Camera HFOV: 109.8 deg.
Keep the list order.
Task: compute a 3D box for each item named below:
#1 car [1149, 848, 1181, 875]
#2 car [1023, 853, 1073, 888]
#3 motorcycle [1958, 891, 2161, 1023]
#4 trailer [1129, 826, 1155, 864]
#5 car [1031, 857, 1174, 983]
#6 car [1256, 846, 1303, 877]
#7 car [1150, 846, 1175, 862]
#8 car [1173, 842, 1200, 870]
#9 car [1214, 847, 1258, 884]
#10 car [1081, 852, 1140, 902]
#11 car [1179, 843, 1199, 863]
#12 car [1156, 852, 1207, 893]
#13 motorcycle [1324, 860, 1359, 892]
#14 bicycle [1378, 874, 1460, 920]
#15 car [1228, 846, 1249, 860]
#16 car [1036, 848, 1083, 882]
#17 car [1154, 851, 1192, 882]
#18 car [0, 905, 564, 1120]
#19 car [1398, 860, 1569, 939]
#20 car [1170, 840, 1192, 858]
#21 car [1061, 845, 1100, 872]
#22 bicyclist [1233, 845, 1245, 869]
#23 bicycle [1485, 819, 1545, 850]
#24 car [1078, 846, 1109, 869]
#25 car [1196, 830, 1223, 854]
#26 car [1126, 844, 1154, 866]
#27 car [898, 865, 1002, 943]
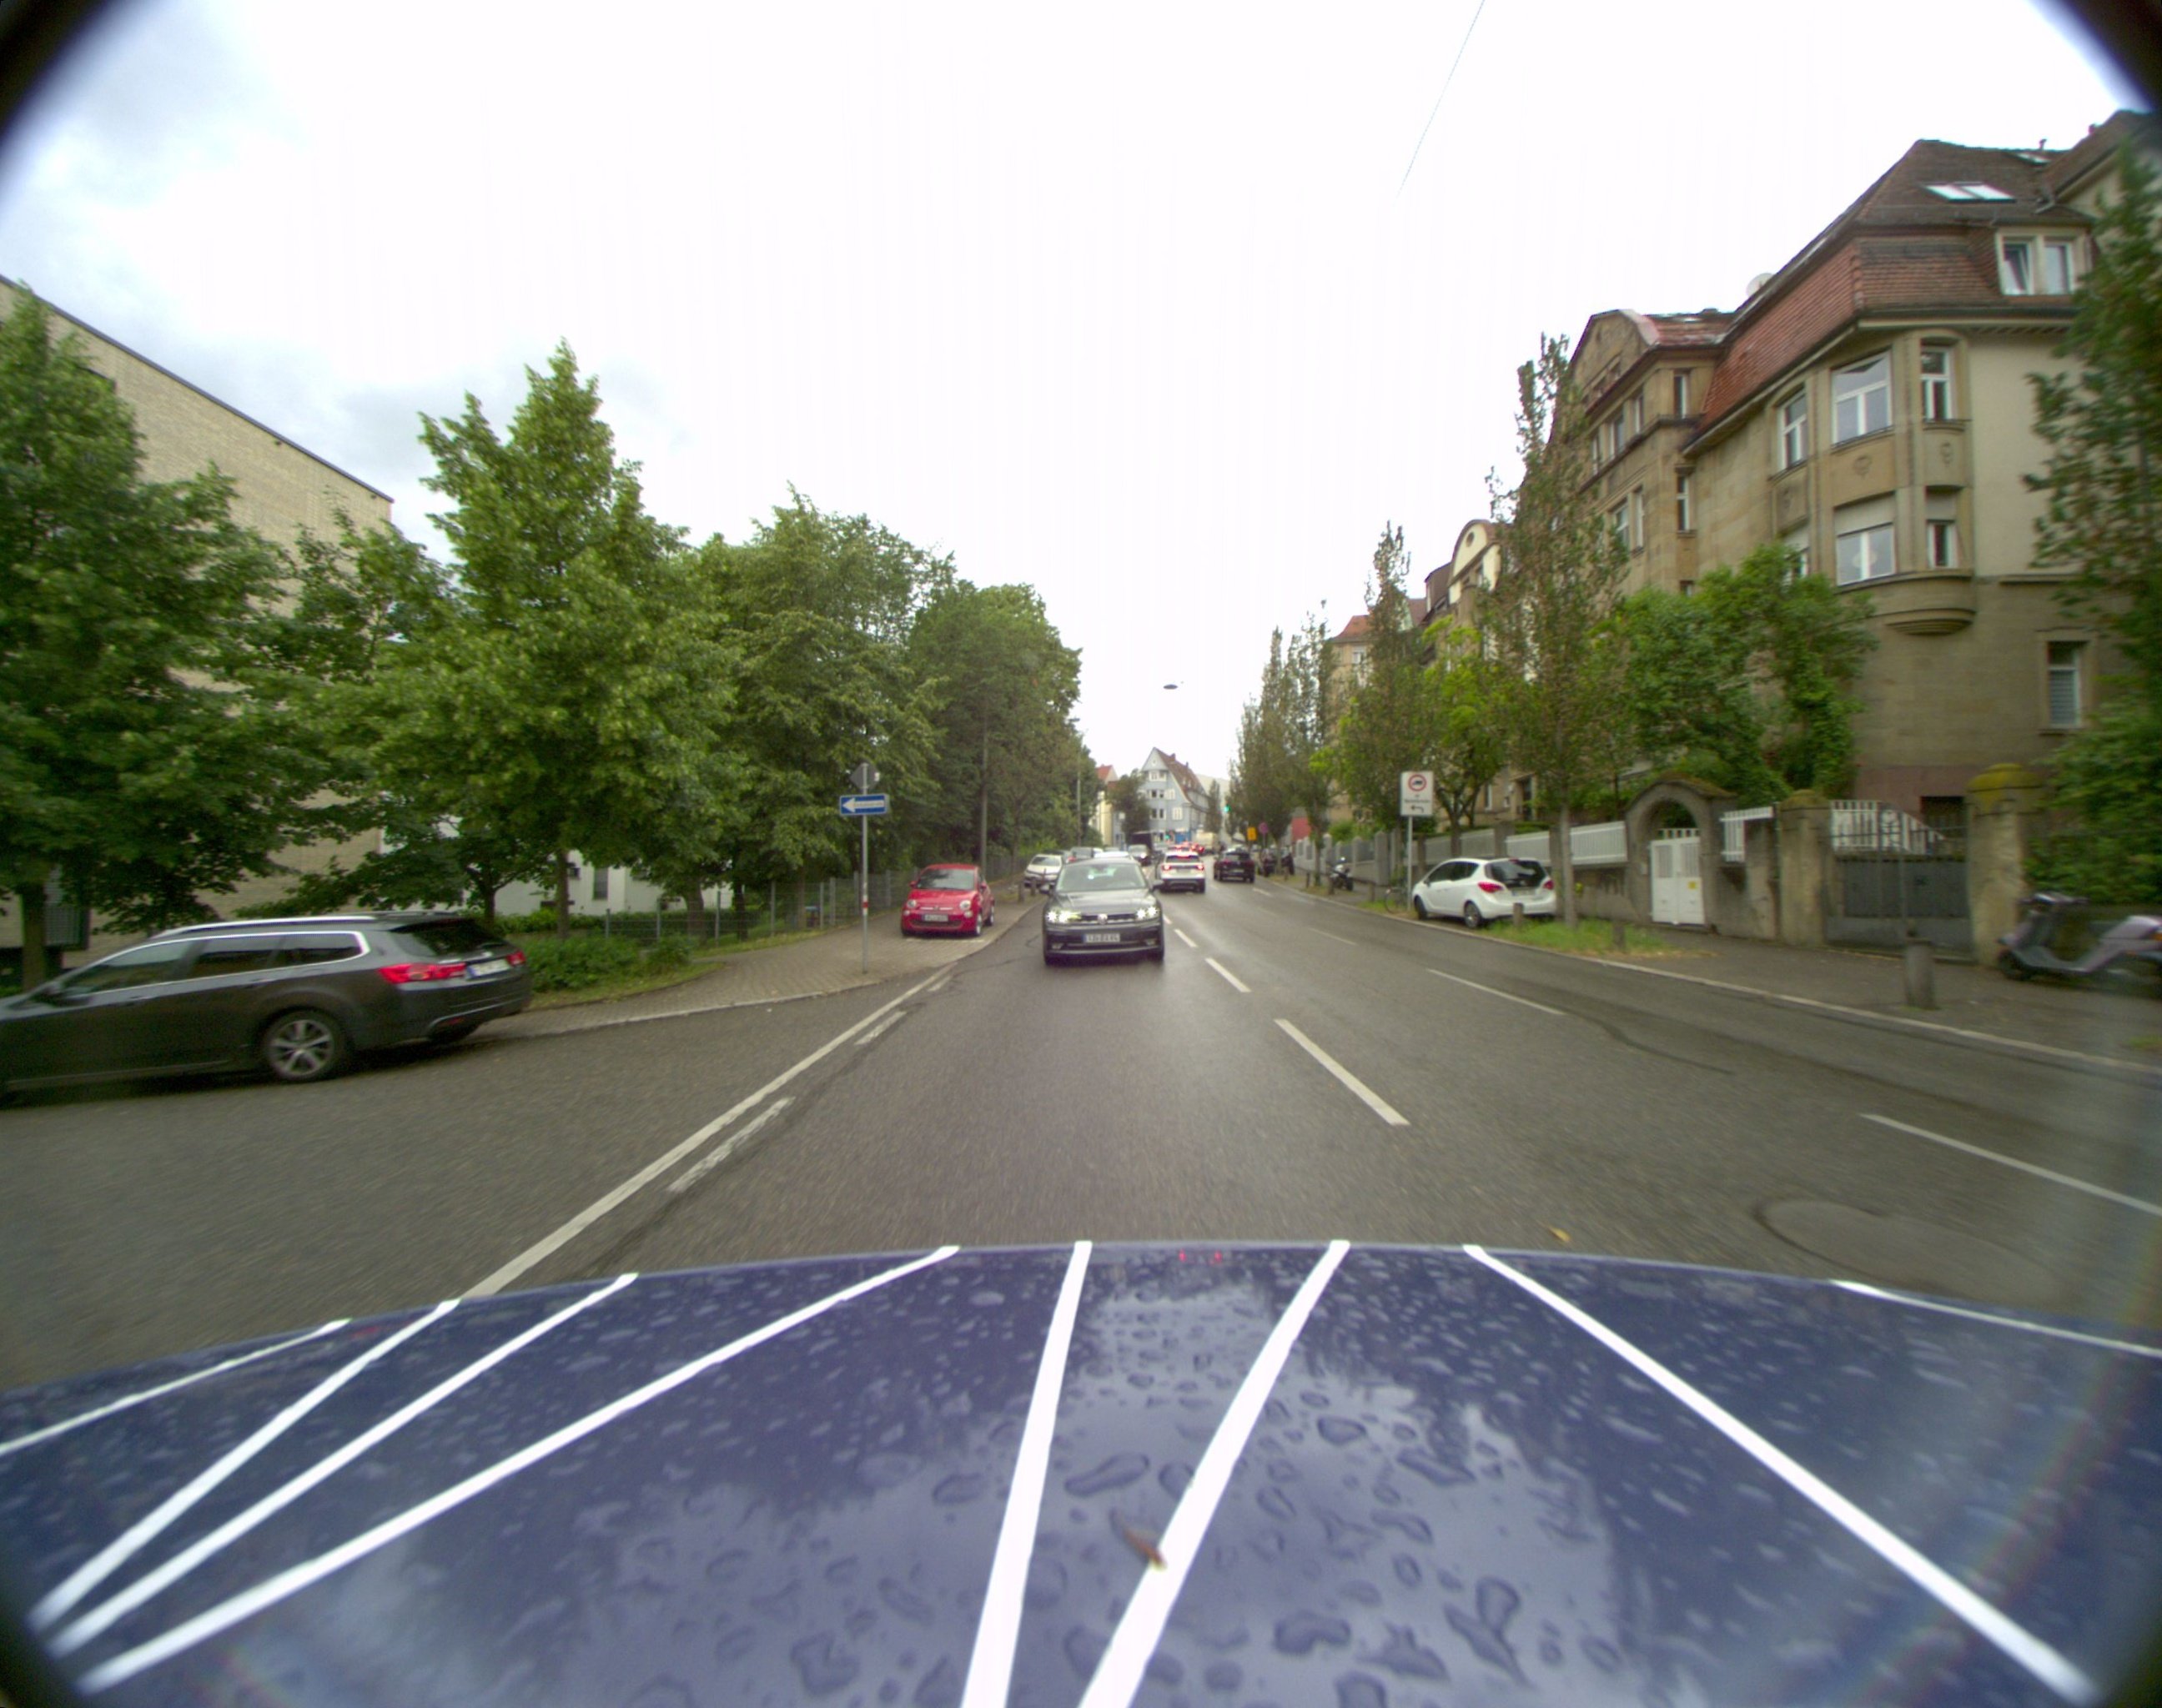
[{"bbox_3d":[4.940,0.426,44.365,1.715,1.471,4.116,2,0,7],"label":"car"},{"bbox_3d":[-1.495,0.745,36.197,1.745,1.454,4.885,3,0,4],"label":"car"},{"bbox_3d":[11.118,1.080,8.497,0.657,1.230,1.763,0,0,4],"label":"motorcycle"},{"bbox_3d":[5.046,-0.696,62.892,1.966,3.024,2.366,-2,0,7],"label":"trailer"},{"bbox_3d":[0.303,0.897,12.611,1.860,1.641,5.195,-1,-1,0],"label":"car"},{"bbox_3d":[11.320,0.386,43.582,2.000,1.586,3.829,-4,0,6],"label":"car"},{"bbox_3d":[8.669,-0.033,80.664,1.923,1.641,4.139,-2,0,15],"label":"car"},{"bbox_3d":[7.012,0.110,50.687,1.655,1.698,4.115,2,1,7],"label":"car"},{"bbox_3d":[7.784,0.542,38.445,1.747,1.509,3.868,3,4,6],"label":"car"},{"bbox_3d":[1.098,0.777,27.905,1.925,1.641,4.487,-2,0,3],"label":"car"},{"bbox_3d":[9.581,-0.124,67.817,1.655,1.698,4.115,2,1,7],"label":"car"},{"bbox_3d":[3.934,0.688,30.345,1.776,1.508,4.100,0,0,4],"label":"car"},{"bbox_3d":[10.448,0.868,30.507,0.657,1.228,1.981,0,0,-2],"label":"motorcycle"},{"bbox_3d":[9.376,1.187,21.096,1.980,1.228,0.657,0,1,1],"label":"bicycle"},{"bbox_3d":[24.136,-0.194,116.376,2.132,2.015,5.418,2,0,21],"label":"car"},{"bbox_3d":[-1.097,0.569,41.606,1.924,1.641,4.885,3,0,5],"label":"car"},{"bbox_3d":[4.560,0.581,37.938,1.766,1.423,3.886,0,1,6],"label":"car"},{"bbox_3d":[-7.891,1.416,7.348,4.280,1.489,2.002,-4,-2,-4],"label":"car"},{"bbox_3d":[9.422,0.979,18.241,1.746,1.550,4.301,-2,0,-1],"label":"car"},{"bbox_3d":[9.798,-0.463,74.145,1.620,1.652,4.118,2,0,14],"label":"car"},{"bbox_3d":[0.021,0.263,51.204,1.971,1.642,4.817,3,2,6],"label":"car"},{"bbox_3d":[10.289,0.172,49.482,0.657,1.547,0.991,0,1,7],"label":"bicyclist"},{"bbox_3d":[17.145,-0.766,30.038,1.980,1.228,0.657,0,1,1],"label":"bicycle"},{"bbox_3d":[0.997,0.242,57.812,1.924,1.552,4.013,3,1,5],"label":"car"},{"bbox_3d":[14.809,-1.346,87.104,2.132,2.491,5.417,2,0,19],"label":"car"},{"bbox_3d":[4.697,0.056,59.845,1.924,1.641,4.137,-2,0,7],"label":"car"},{"bbox_3d":[-2.859,1.041,17.321,1.613,1.493,3.958,1,0,1],"label":"car"}]
